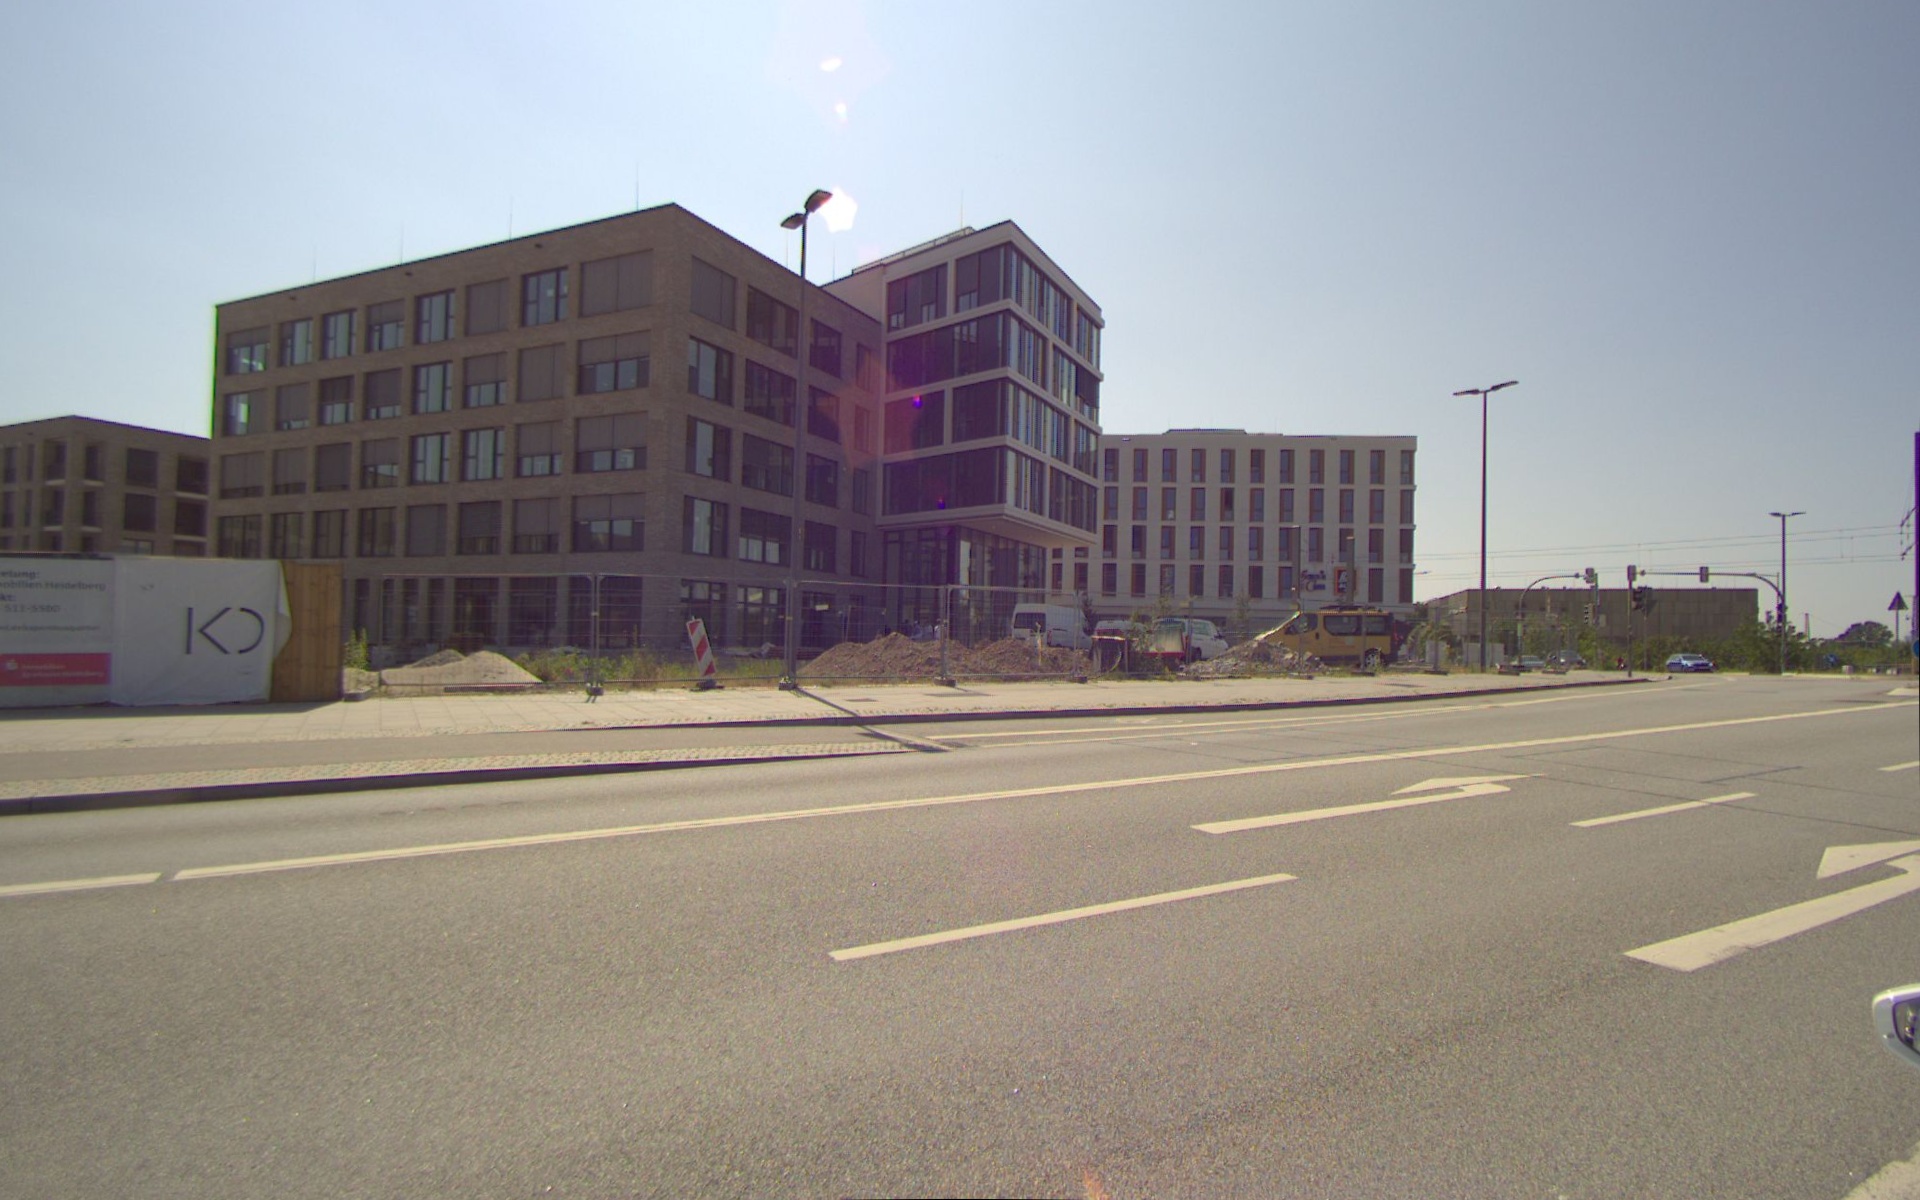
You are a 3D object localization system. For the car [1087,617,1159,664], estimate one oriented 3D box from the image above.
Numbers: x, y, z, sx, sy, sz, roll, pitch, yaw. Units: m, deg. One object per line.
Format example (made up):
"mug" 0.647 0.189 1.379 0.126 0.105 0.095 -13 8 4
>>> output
"car" 7.138 1.715 43.685 1.759 1.881 3.843 2 0 30

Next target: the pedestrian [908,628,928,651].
"pedestrian" -1.967 1.869 47.343 0.734 1.041 0.699 2 0 16

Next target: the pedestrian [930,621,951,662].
"pedestrian" -0.855 1.822 44.030 0.734 1.741 0.699 2 0 16

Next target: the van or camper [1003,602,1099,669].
"van or camper" 4.154 1.557 45.100 2.273 2.772 4.975 2 0 32

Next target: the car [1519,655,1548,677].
"car" 46.469 5.330 81.433 1.541 1.608 3.477 2 0 23

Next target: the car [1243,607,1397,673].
"car" 11.997 1.298 33.777 4.533 1.988 1.991 2 0 9

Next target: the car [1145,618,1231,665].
"car" 9.647 1.694 42.201 1.841 1.797 4.637 2 0 36

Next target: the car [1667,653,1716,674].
"car" 52.326 4.517 71.879 1.787 1.348 4.000 2 -2 20

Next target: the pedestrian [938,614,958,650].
"pedestrian" -0.572 1.560 48.948 0.734 1.741 0.699 2 0 16

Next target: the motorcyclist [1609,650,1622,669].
"motorcyclist" 54.711 4.937 83.831 0.739 1.514 0.677 2 0 23

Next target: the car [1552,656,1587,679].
"car" 44.358 4.886 73.187 1.646 1.496 3.405 0 -1 22

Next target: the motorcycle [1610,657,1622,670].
"motorcycle" 54.696 5.305 83.762 0.511 0.967 1.933 2 0 23
